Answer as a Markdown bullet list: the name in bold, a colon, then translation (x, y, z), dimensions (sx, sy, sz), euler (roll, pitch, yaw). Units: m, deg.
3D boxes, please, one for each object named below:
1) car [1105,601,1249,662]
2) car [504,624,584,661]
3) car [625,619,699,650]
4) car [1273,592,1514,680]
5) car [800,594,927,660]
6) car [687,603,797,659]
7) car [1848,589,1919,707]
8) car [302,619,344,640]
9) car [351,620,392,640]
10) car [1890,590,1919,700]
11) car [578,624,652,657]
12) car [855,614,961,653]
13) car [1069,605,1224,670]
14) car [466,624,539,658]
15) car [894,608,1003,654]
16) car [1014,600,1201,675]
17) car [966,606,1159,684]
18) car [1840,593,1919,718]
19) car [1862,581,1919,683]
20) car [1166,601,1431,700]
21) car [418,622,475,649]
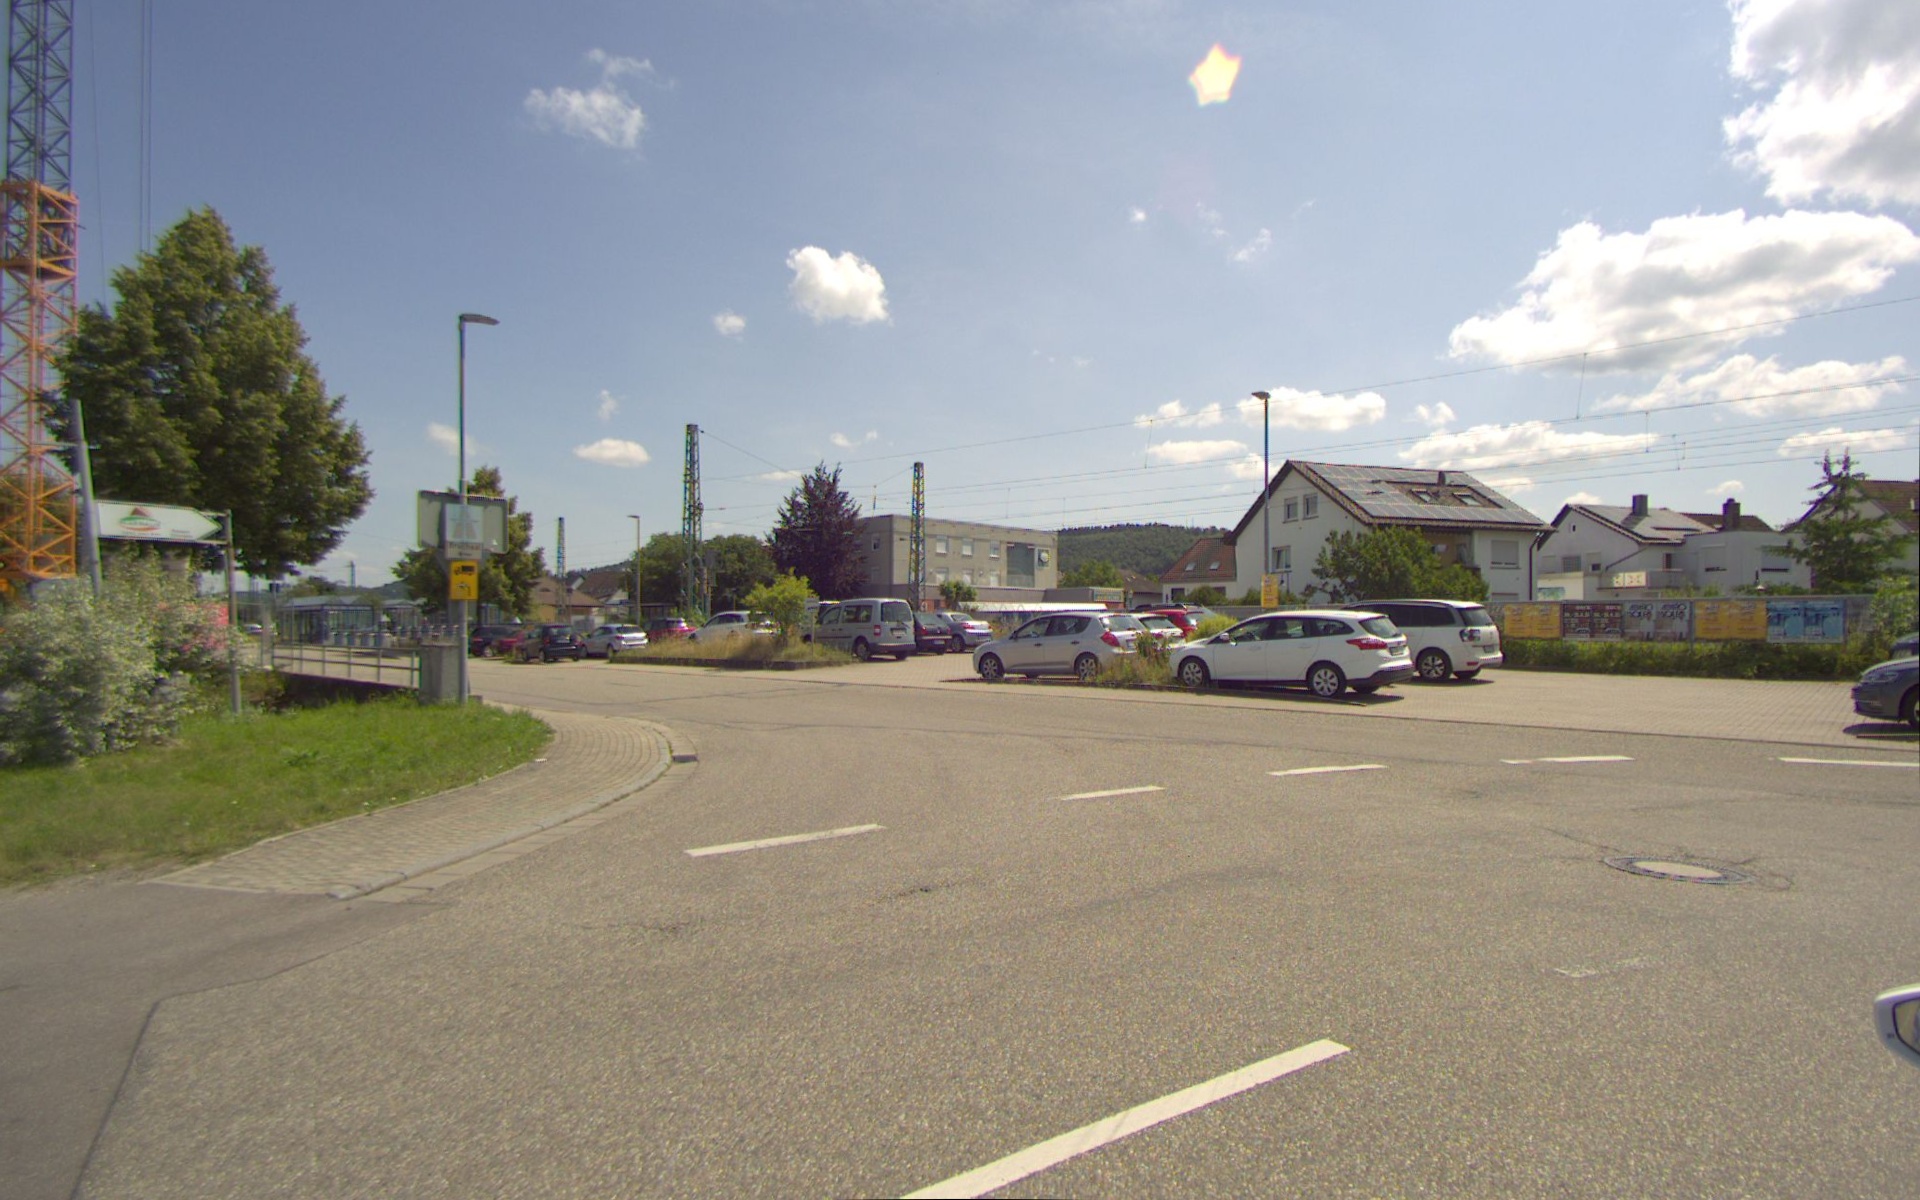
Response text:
- **car**: translation (6.135, 0.878, 28.650), dimensions (3.788, 1.610, 1.489), euler (-1, -1, 42)
- **car**: translation (-17.424, 1.735, 42.012), dimensions (1.815, 1.477, 3.948), euler (1, -1, -44)
- **car**: translation (-13.292, 1.509, 44.717), dimensions (1.524, 1.331, 3.948), euler (1, -1, -44)
- **car**: translation (9.325, 0.703, 21.882), dimensions (1.985, 1.713, 4.412), euler (-1, 0, -41)
- **car**: translation (-3.066, 0.782, 31.310), dimensions (1.893, 1.840, 3.946), euler (-1, 2, -45)
- **car**: translation (-7.953, 1.115, 36.567), dimensions (3.941, 1.916, 1.990), euler (-1, -1, 41)
- **car**: translation (14.614, 0.657, 13.430), dimensions (1.767, 1.607, 3.951), euler (2, -2, -42)
- **car**: translation (-46.723, 2.165, 73.635), dimensions (3.947, 1.483, 1.761), euler (-1, -1, 45)
- **car**: translation (-44.605, 2.226, 76.064), dimensions (3.947, 1.483, 1.761), euler (-1, -1, 45)
- **car**: translation (16.478, 0.664, 14.790), dimensions (1.985, 1.679, 3.950), euler (1, -1, -42)
- **car**: translation (-14.908, 1.725, 43.280), dimensions (1.524, 1.331, 3.948), euler (1, -1, -44)
- **car**: translation (-1.786, 1.104, 33.754), dimensions (1.661, 1.238, 3.626), euler (1, -1, -42)
- **car**: translation (4.870, 0.959, 26.523), dimensions (3.743, 1.579, 1.684), euler (-1, -1, 44)
- **car**: translation (-21.795, 1.929, 47.812), dimensions (3.946, 1.523, 1.879), euler (-1, -1, 44)
- **car**: translation (-0.456, 1.063, 35.592), dimensions (1.671, 1.439, 3.951), euler (1, 0, -42)
- **car**: translation (3.536, 0.938, 24.516), dimensions (4.112, 1.660, 1.946), euler (-3, -3, 40)
- **car**: translation (2.235, 0.947, 22.428), dimensions (3.952, 1.582, 1.814), euler (-1, -1, 39)
- **car**: translation (12.855, 0.674, 11.405), dimensions (1.652, 1.482, 4.150), euler (1, -1, -41)
- **car**: translation (18.056, 0.592, 17.026), dimensions (1.757, 1.753, 3.950), euler (1, 0, -42)
- **car**: translation (6.088, 0.838, 18.421), dimensions (1.816, 1.496, 4.239), euler (1, 0, -45)
- **car**: translation (-29.141, 2.003, 56.938), dimensions (3.947, 1.483, 1.761), euler (-1, -1, 45)
